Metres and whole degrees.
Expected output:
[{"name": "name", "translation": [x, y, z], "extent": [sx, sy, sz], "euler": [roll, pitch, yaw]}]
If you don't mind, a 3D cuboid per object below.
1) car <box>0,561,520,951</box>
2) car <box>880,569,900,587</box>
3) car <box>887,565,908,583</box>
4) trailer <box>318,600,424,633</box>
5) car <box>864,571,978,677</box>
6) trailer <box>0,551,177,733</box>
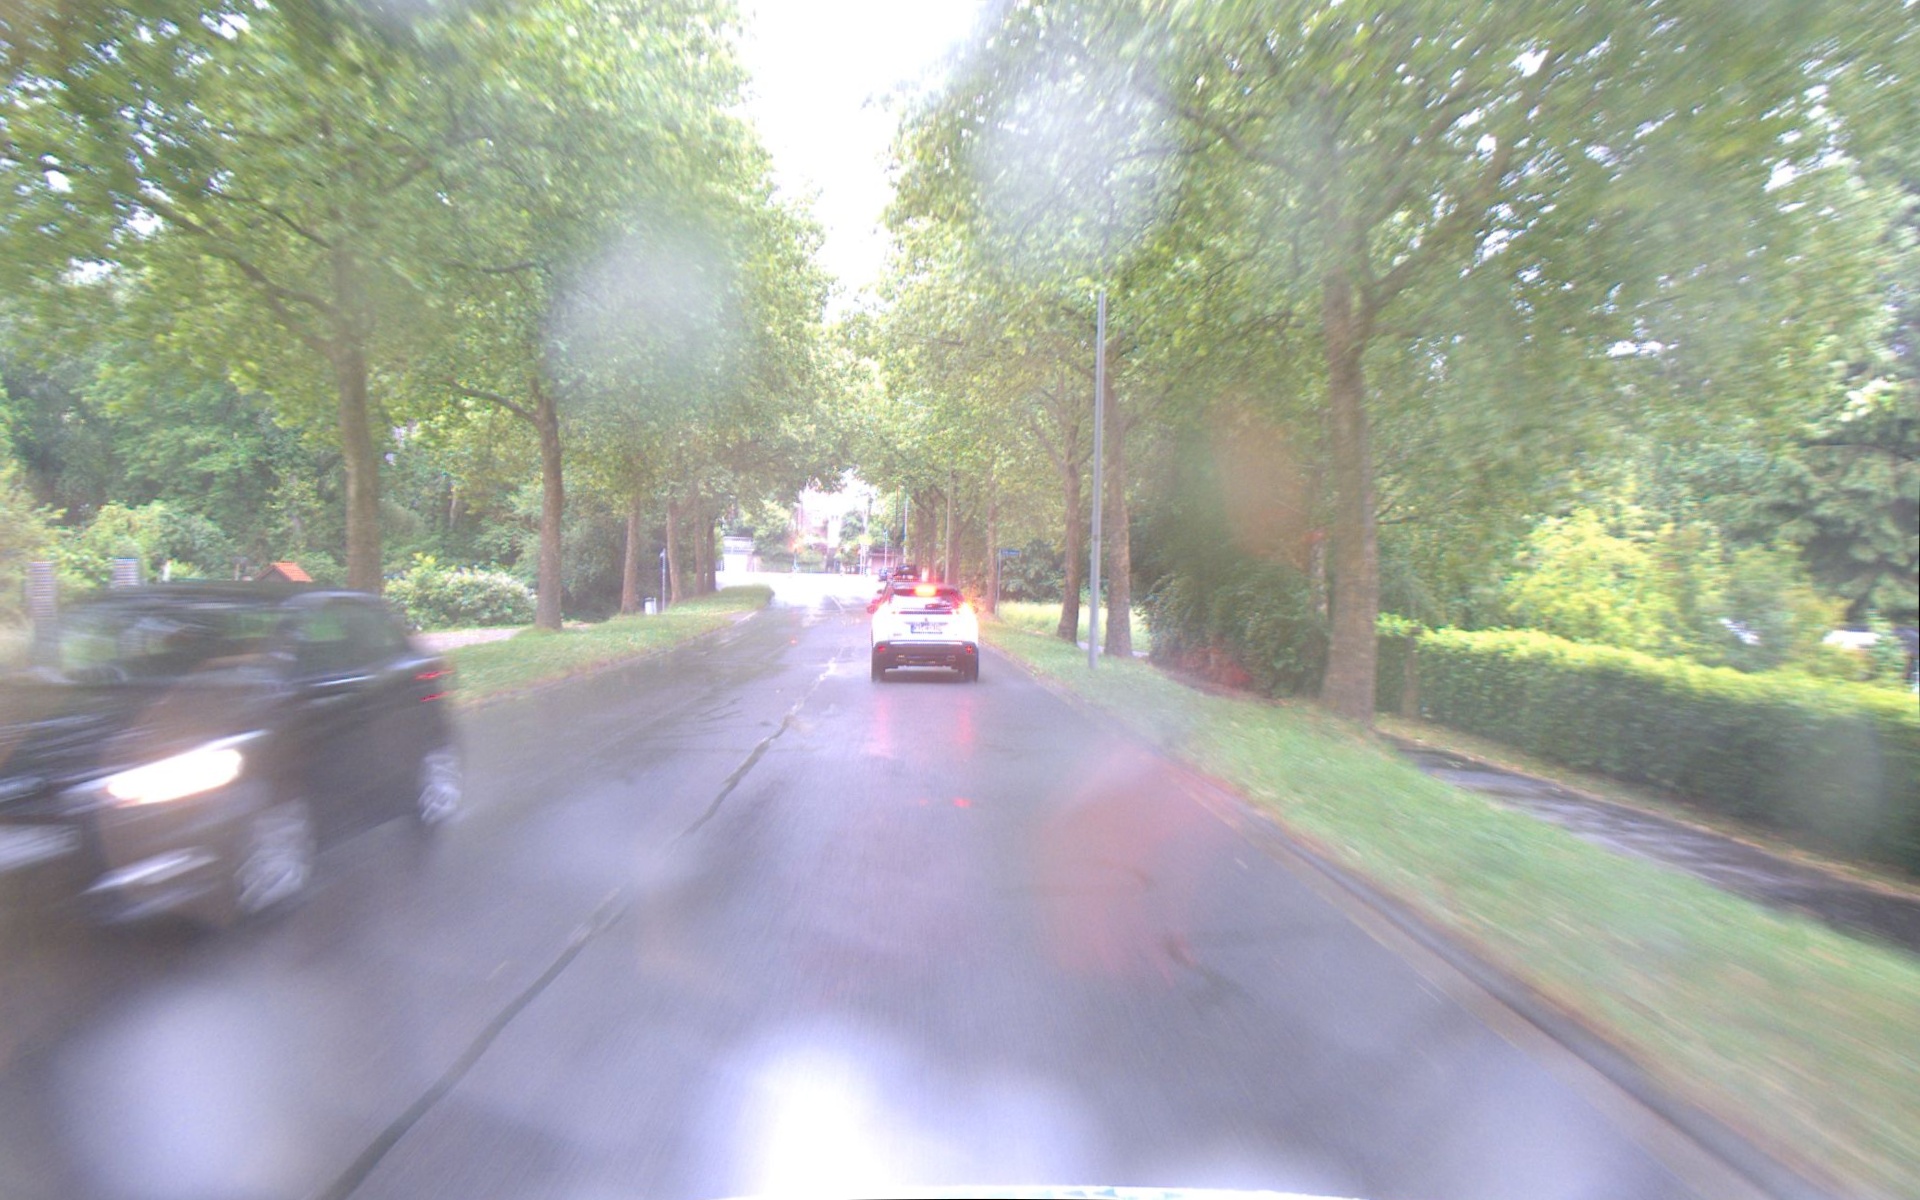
[{"name": "car", "translation": [-3.651, 0.593, 8.475], "extent": [1.672, 1.512, 3.881], "euler": [2, 0, 1]}, {"name": "car", "translation": [-6.879, -2.158, 163.049], "extent": [1.789, 1.624, 3.654], "euler": [2, 1, 0]}, {"name": "car", "translation": [-5.795, -2.372, 153.408], "extent": [1.789, 1.624, 3.654], "euler": [2, 1, 0]}, {"name": "trailer", "translation": [-22.156, 0.612, 62.307], "extent": [3.487, 1.199, 1.819], "euler": [0, 1, -9]}, {"name": "car", "translation": [-0.643, 0.351, 27.822], "extent": [1.757, 1.606, 3.844], "euler": [1, 1, -1]}, {"name": "trailer", "translation": [-14.977, 0.543, 26.449], "extent": [2.435, 2.612, 5.331], "euler": [1, 1, -2]}]
